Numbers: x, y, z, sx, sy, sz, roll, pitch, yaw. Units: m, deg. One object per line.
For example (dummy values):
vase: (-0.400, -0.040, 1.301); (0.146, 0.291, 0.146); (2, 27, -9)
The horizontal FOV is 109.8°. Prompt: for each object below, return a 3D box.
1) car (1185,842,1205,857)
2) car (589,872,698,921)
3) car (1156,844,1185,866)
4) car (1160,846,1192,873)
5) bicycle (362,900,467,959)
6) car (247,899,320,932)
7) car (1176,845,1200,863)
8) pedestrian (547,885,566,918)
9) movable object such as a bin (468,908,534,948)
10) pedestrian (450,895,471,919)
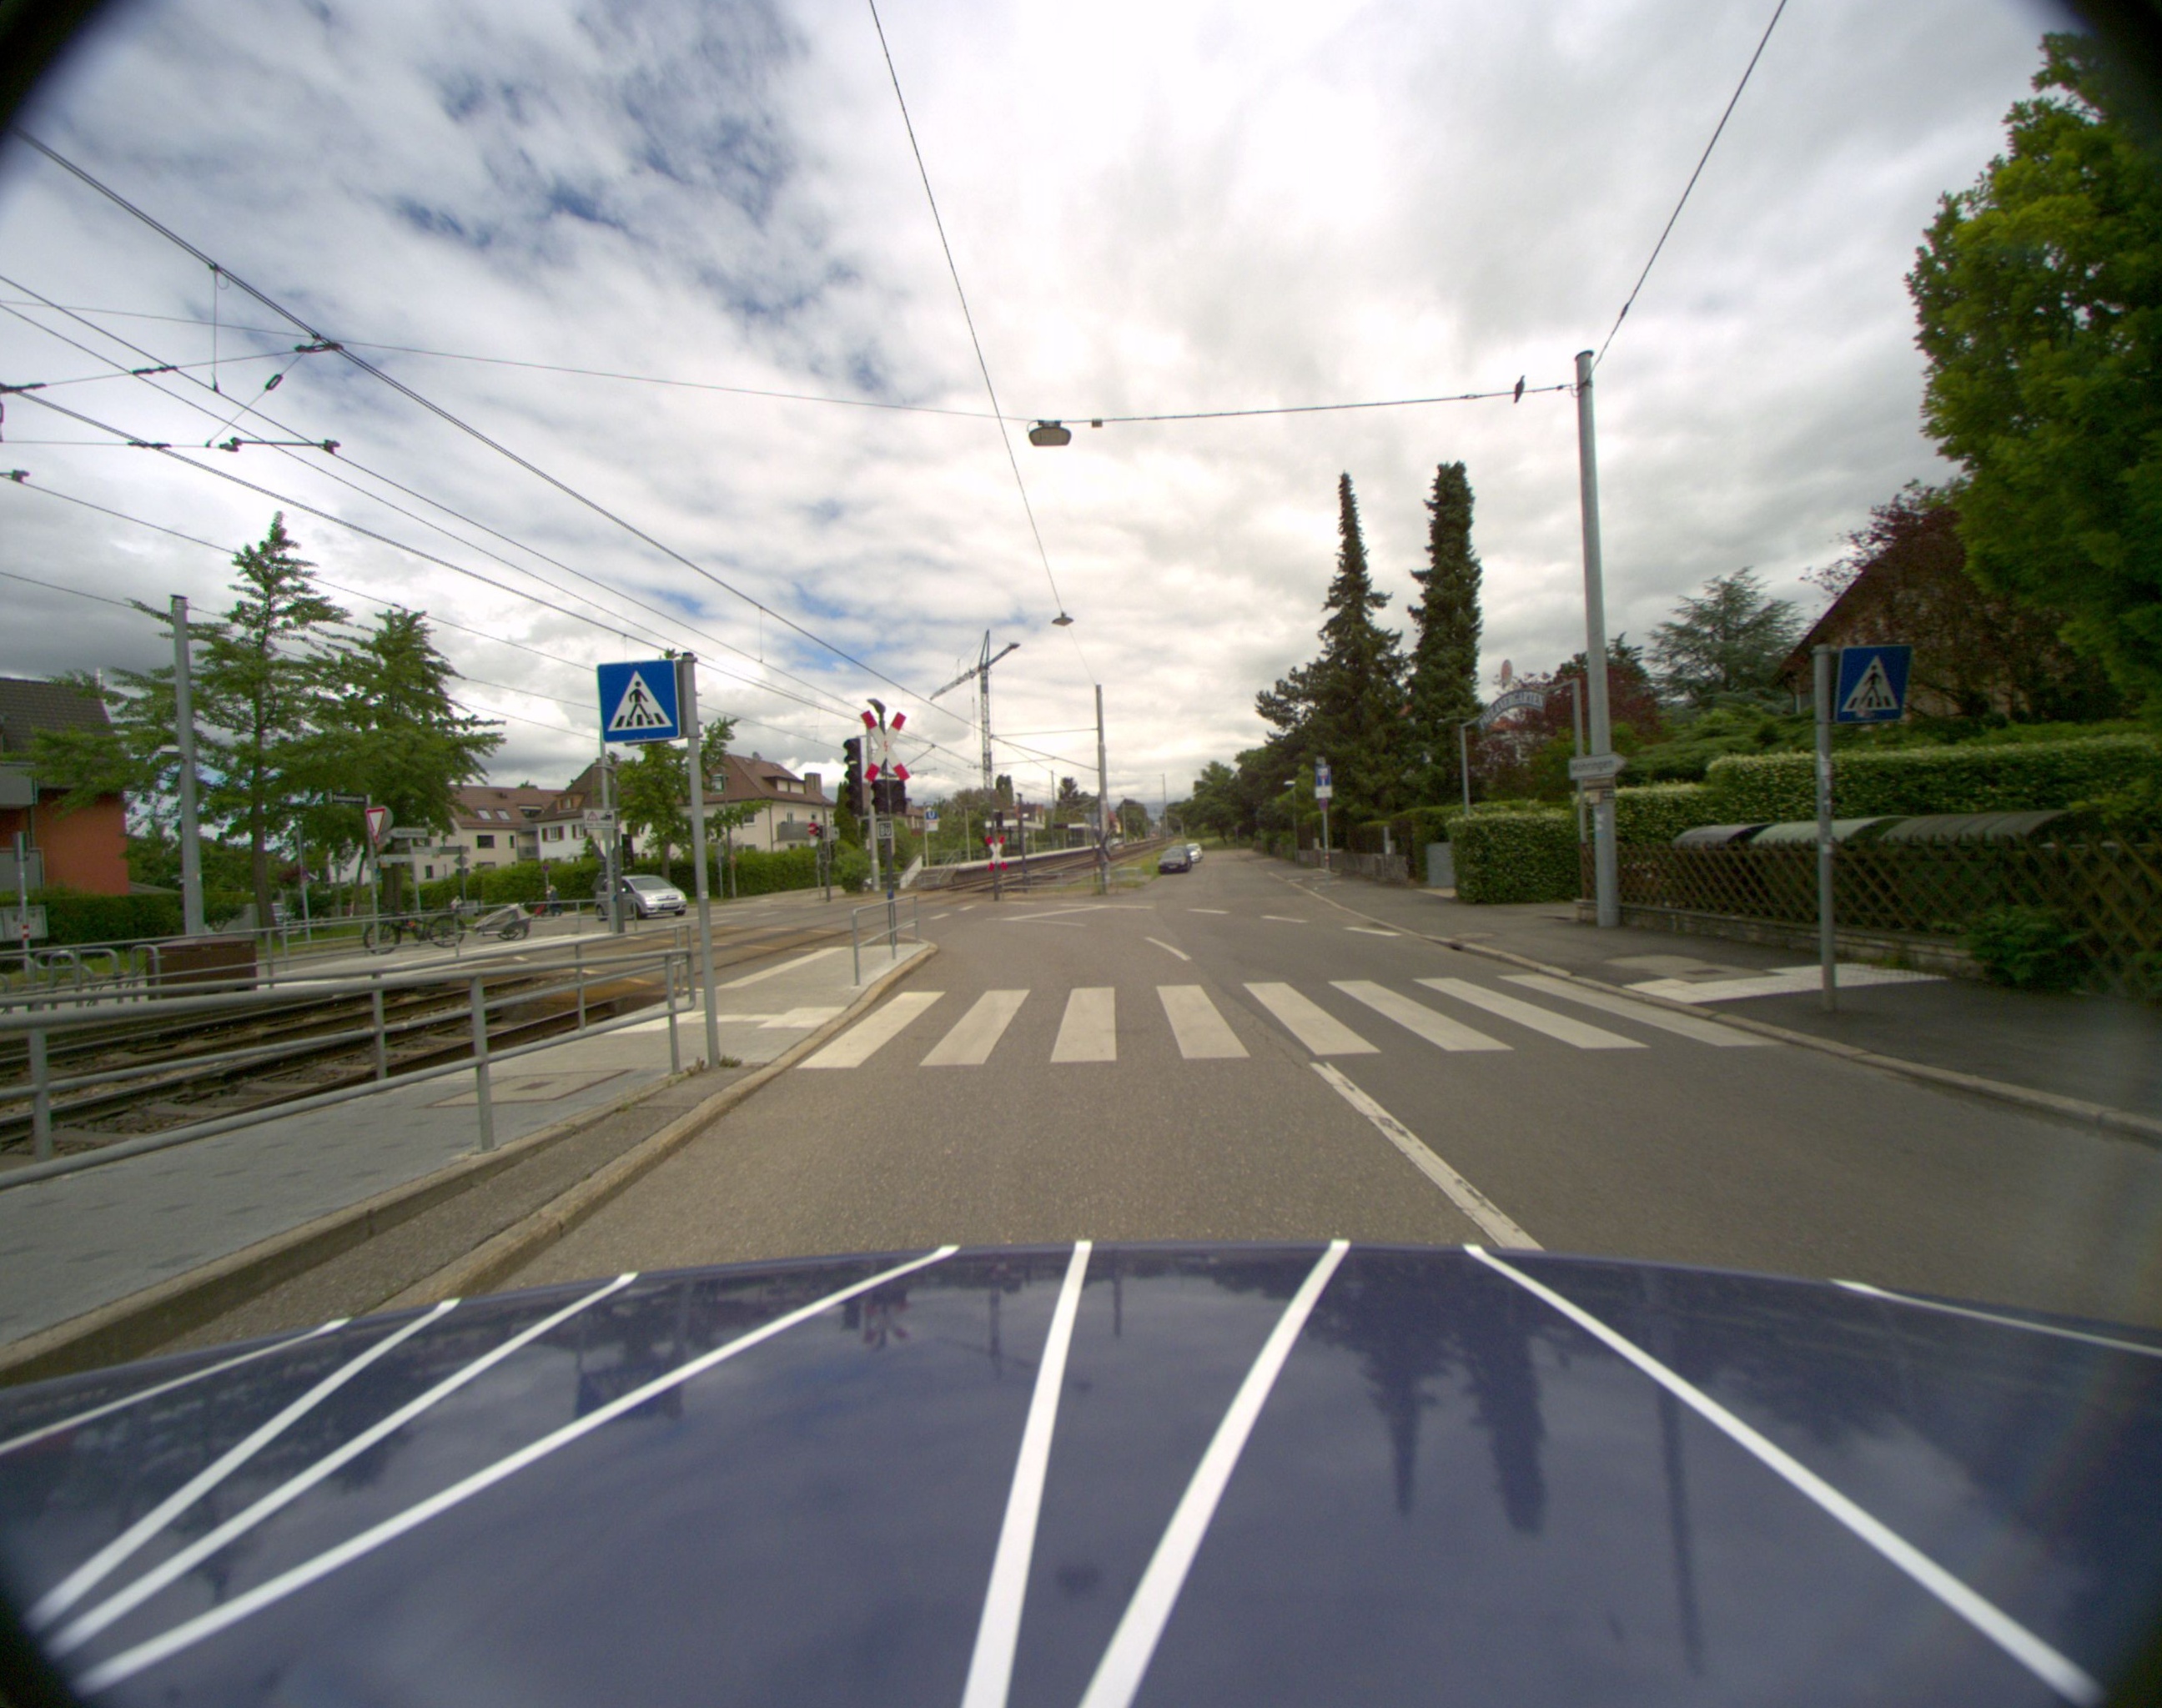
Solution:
car: (11.451, -0.434, 76.237); (1.852, 1.368, 4.002); (-3, 0, 10)
car: (-15.836, 1.533, 27.442); (3.917, 1.559, 1.730); (-3, 0, 33)
car: (6.717, 0.042, 56.554); (1.852, 1.472, 4.002); (-3, 0, 10)
car: (6.109, 0.307, 48.560); (1.820, 1.493, 4.121); (-4, 0, 8)
bicycle: (-15.055, 1.683, 17.217); (0.465, 1.149, 1.695); (-3, 0, 25)
car: (-46.039, 3.563, 43.868); (4.454, 1.627, 1.856); (-3, 1, 31)
car: (9.230, -0.032, 65.495); (1.852, 1.368, 4.002); (-3, 0, 10)
pedestrian: (-27.207, 2.441, 39.415); (0.599, 1.611, 0.676); (-6, 3, -26)
movable object such as a bin: (-14.031, 1.778, 18.400); (0.578, 0.820, 1.096); (-3, 1, 28)
pedestrian: (-40.788, 3.470, 49.950); (0.543, 1.522, 0.750); (-4, 2, 20)
